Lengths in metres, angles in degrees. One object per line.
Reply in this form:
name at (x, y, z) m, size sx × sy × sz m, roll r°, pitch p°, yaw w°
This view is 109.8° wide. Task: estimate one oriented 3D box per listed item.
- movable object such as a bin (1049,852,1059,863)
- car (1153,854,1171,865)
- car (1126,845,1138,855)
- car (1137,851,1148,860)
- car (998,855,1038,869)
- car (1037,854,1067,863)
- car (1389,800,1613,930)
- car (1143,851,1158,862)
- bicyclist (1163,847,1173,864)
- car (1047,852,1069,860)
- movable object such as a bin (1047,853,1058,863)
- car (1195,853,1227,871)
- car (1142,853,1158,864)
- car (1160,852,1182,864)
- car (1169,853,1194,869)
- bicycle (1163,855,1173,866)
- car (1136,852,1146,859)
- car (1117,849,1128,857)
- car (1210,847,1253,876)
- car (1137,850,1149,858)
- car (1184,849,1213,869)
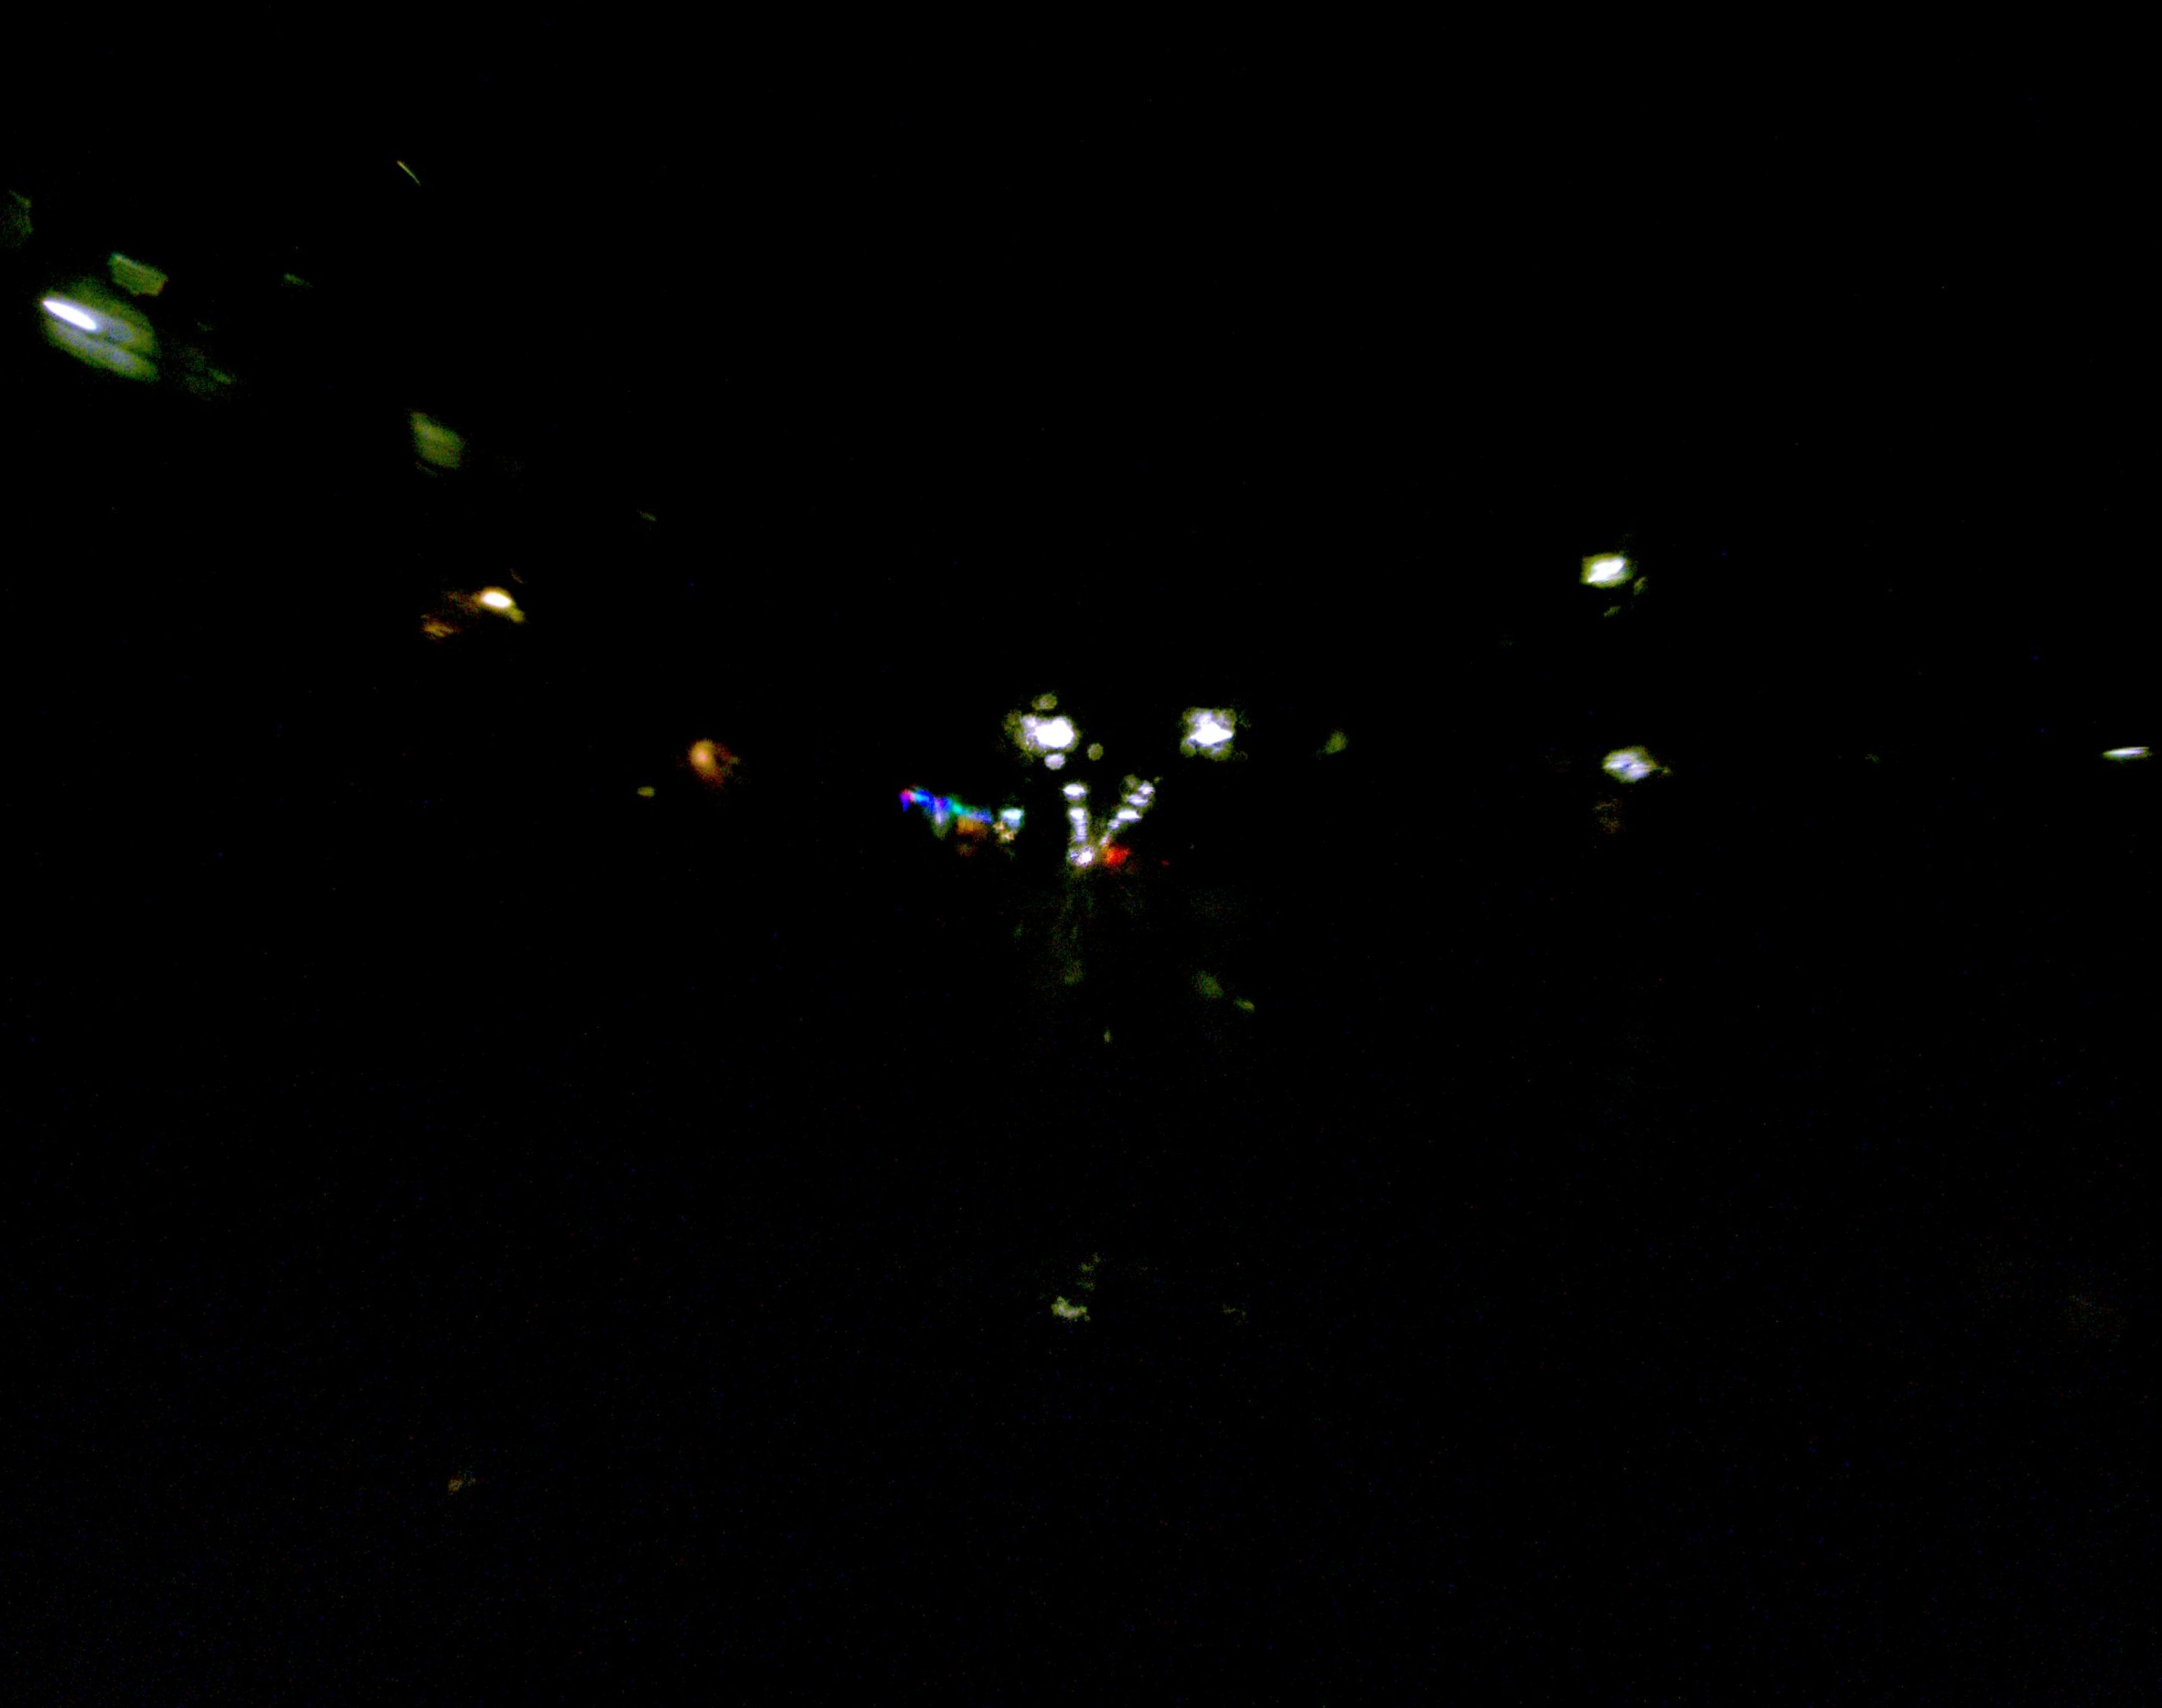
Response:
movable object such as a bin at (-3.783, 0.505, 106.124) m, size 1.326 × 1.400 × 1.159 m, roll 1°, pitch 1°, yaw -4°
car at (11.088, 0.748, 104.260) m, size 1.845 × 1.415 × 4.208 m, roll 0°, pitch 1°, yaw -2°
car at (12.604, -0.971, 187.329) m, size 2.248 × 2.494 × 5.259 m, roll -3°, pitch 1°, yaw -2°
car at (11.656, 0.274, 144.888) m, size 1.814 × 1.569 × 4.353 m, roll -4°, pitch 0°, yaw 1°
car at (-7.190, 0.894, 86.904) m, size 4.111 × 1.528 × 1.956 m, roll -1°, pitch 1°, yaw -24°
car at (-4.755, 0.800, 124.781) m, size 4.604 × 1.467 × 1.837 m, roll 0°, pitch 0°, yaw -19°
car at (9.750, 0.240, 18.508) m, size 2.190 × 2.576 × 6.393 m, roll -1°, pitch 0°, yaw 3°
car at (11.438, 0.397, 125.251) m, size 2.149 × 1.610 × 4.588 m, roll -3°, pitch 1°, yaw 1°
bicyclist at (8.822, 0.146, 77.074) m, size 0.784 × 1.646 × 1.206 m, roll 1°, pitch 1°, yaw 1°
car at (-4.615, 0.444, 152.307) m, size 4.350 × 1.459 × 1.676 m, roll -1°, pitch 1°, yaw -37°
movable object such as a bin at (-3.917, 0.521, 103.848) m, size 1.371 × 1.414 × 1.073 m, roll 1°, pitch 1°, yaw 6°
car at (10.293, 0.637, 60.426) m, size 1.695 × 1.413 × 3.913 m, roll 0°, pitch 0°, yaw -2°
car at (10.336, 0.655, 113.594) m, size 1.778 × 1.432 × 4.606 m, roll 0°, pitch 1°, yaw -3°
car at (11.068, 0.468, 94.015) m, size 1.893 × 1.454 × 4.958 m, roll 0°, pitch 1°, yaw -3°
car at (10.704, 0.699, 81.327) m, size 1.885 × 1.536 × 4.398 m, roll -4°, pitch 1°, yaw -2°
bicycle at (8.811, 0.660, 77.088) m, size 0.784 × 1.076 × 1.918 m, roll 1°, pitch 1°, yaw 1°
car at (12.199, 0.310, 153.970) m, size 1.723 × 1.447 × 3.950 m, roll -1°, pitch 1°, yaw 0°
car at (7.272, -0.175, 133.163) m, size 1.780 × 1.509 × 4.051 m, roll -1°, pitch 0°, yaw 1°
car at (9.746, 0.442, 49.424) m, size 1.974 × 1.646 × 4.601 m, roll -3°, pitch 1°, yaw 2°
car at (10.956, -0.005, 133.959) m, size 1.735 × 1.430 × 4.625 m, roll -1°, pitch 1°, yaw 1°
car at (10.452, 0.431, 67.857) m, size 1.988 × 1.622 × 4.516 m, roll -1°, pitch 1°, yaw 1°
